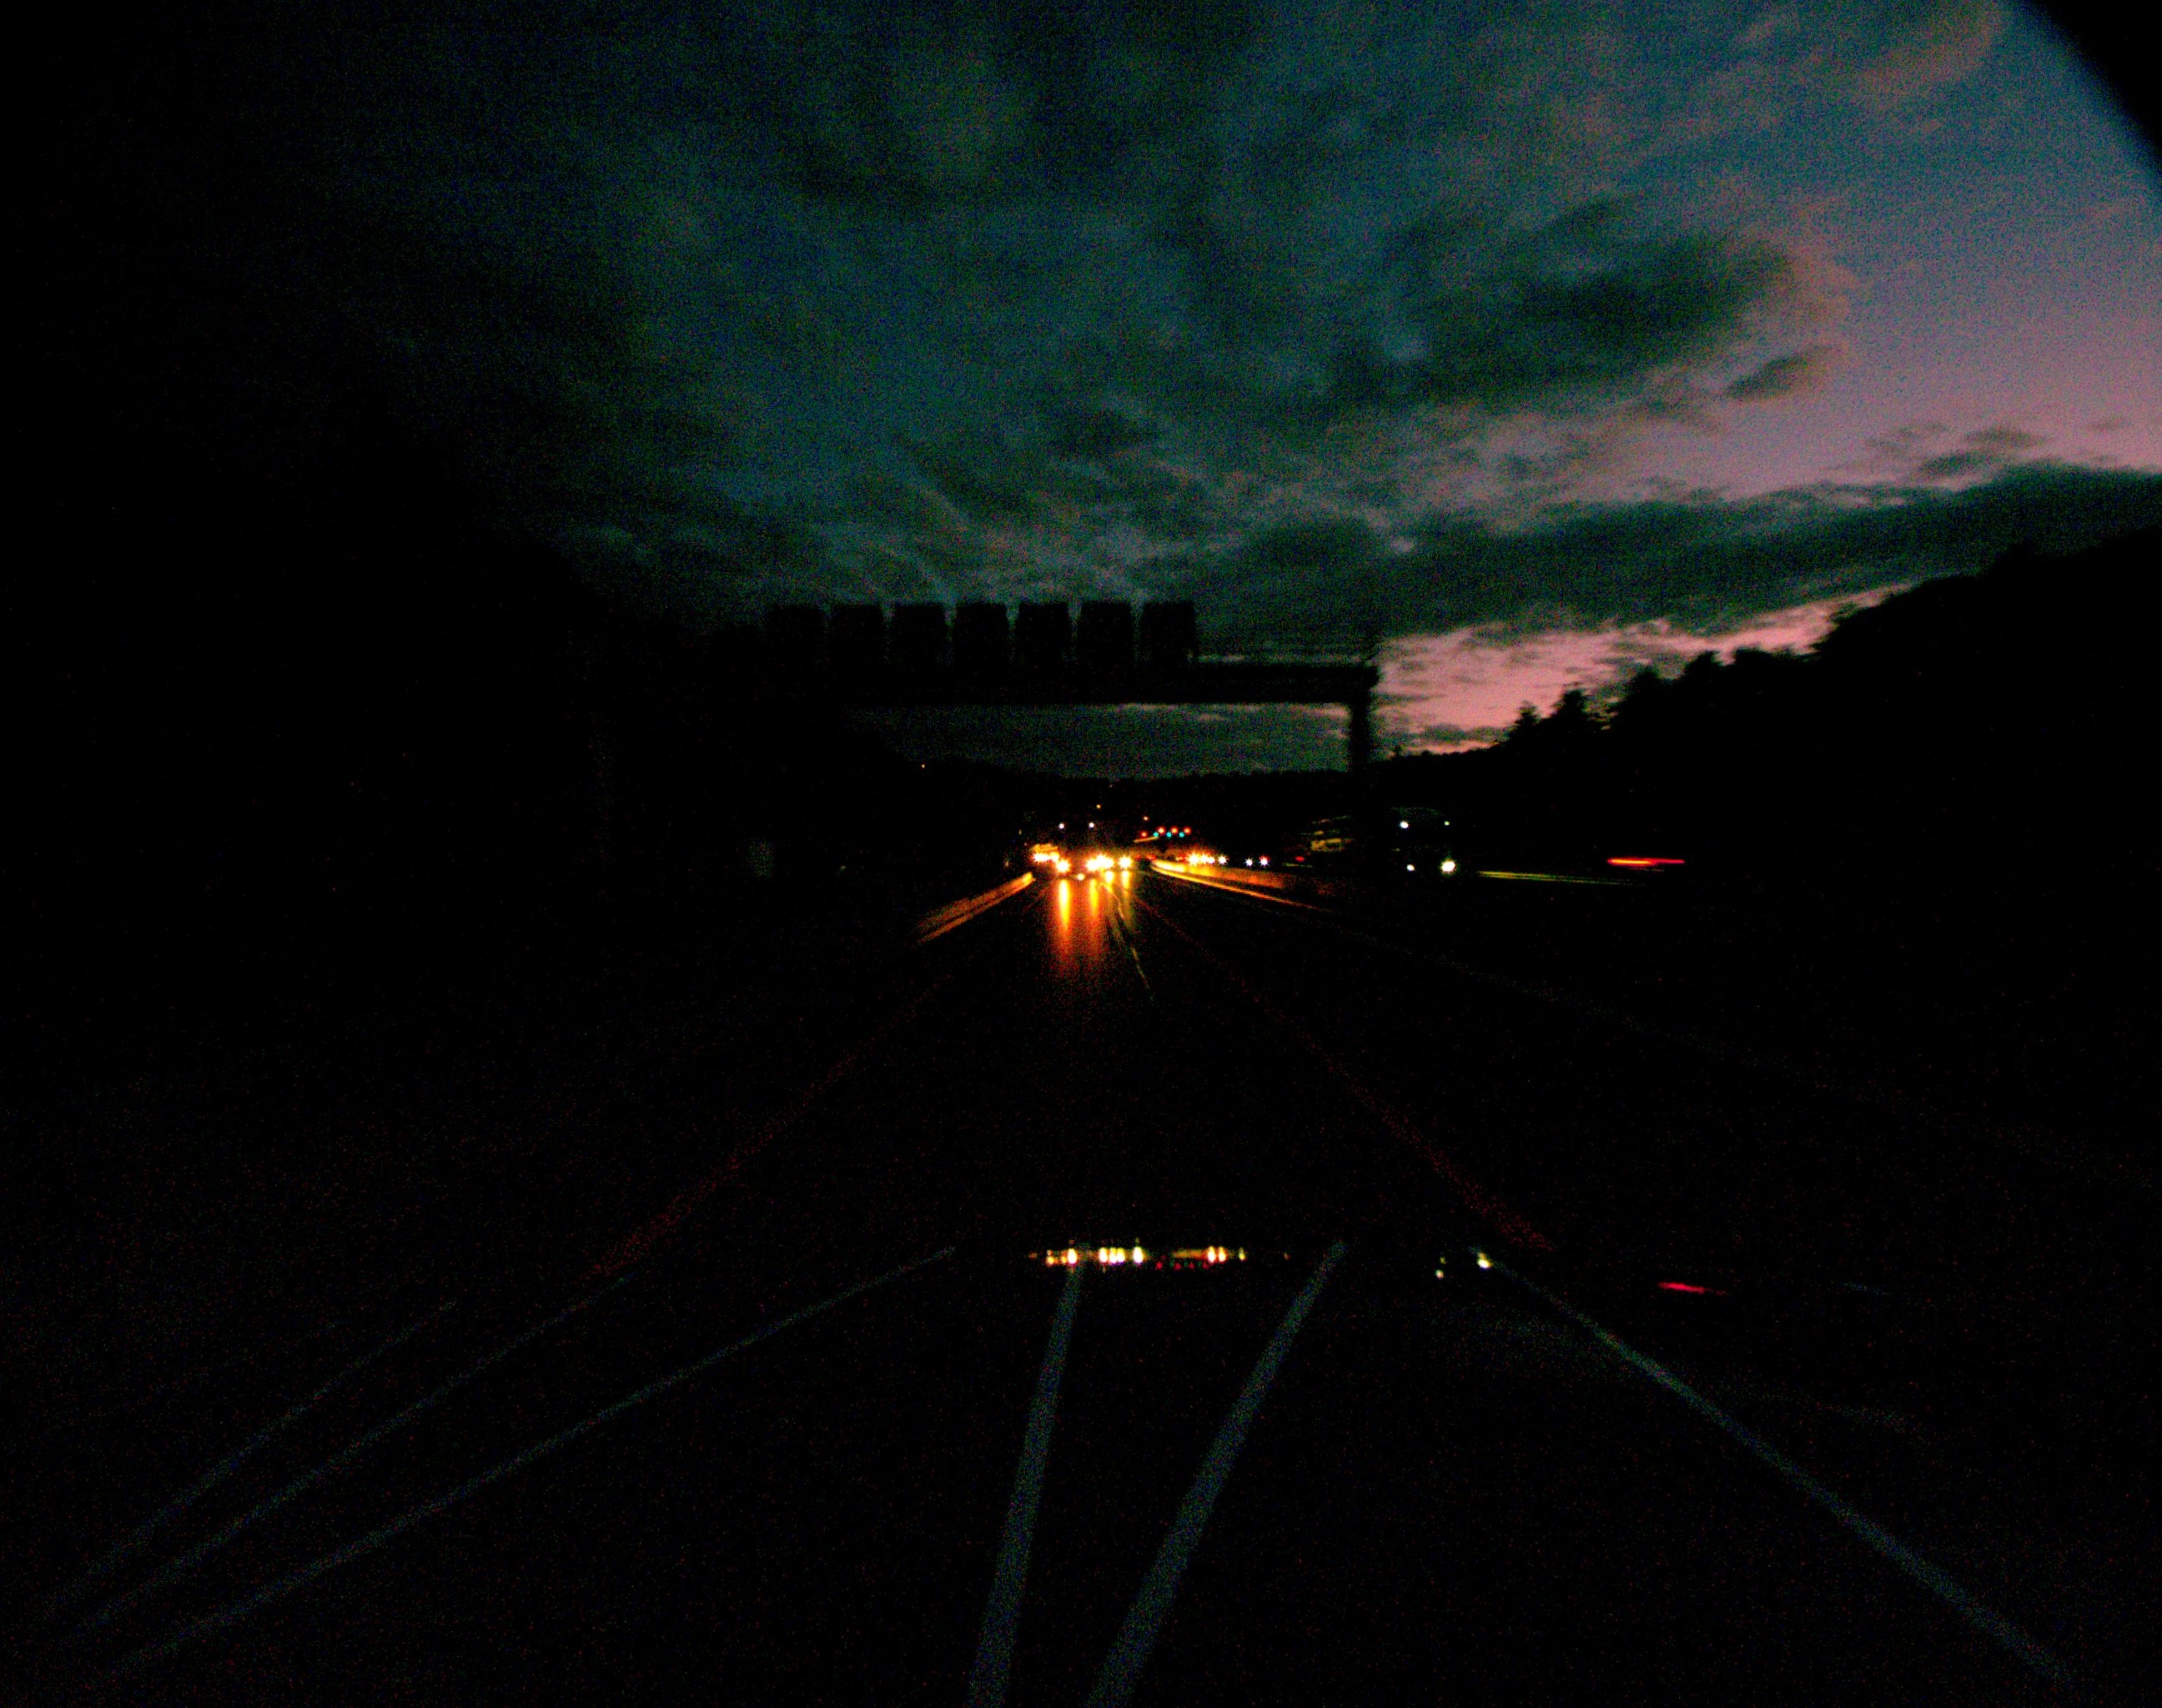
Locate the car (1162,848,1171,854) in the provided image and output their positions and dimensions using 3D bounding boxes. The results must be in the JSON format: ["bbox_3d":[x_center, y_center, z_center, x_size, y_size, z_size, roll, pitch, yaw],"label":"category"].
[{"bbox_3d":[22.830,-0.812,203.183,1.808,1.628,4.751,-3,1,1],"label":"car"}]

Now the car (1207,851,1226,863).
[{"bbox_3d":[18.756,0.424,105.145,1.792,1.472,3.999,-3,1,0],"label":"car"}]

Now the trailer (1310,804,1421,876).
[{"bbox_3d":[17.340,-0.826,47.415,2.805,3.761,11.836,-3,1,2],"label":"trailer"}]

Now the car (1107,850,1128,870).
[{"bbox_3d":[3.192,0.472,65.319,1.662,1.586,3.997,-3,1,4],"label":"car"}]

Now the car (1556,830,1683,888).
[{"bbox_3d":[22.925,0.173,32.611,1.998,2.177,4.801,-3,1,0],"label":"car"}]

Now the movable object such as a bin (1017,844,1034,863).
[{"bbox_3d":[-9.363,-0.046,129.583,2.628,3.090,5.804,-1,1,-2],"label":"movable object such as a bin"}]

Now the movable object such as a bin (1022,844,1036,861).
[{"bbox_3d":[-10.411,-0.362,152.921,2.571,3.299,5.577,0,1,-2],"label":"movable object such as a bin"}]

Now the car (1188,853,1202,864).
[{"bbox_3d":[17.859,0.678,119.385,1.509,1.472,3.824,-3,1,0],"label":"car"}]

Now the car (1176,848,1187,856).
[{"bbox_3d":[22.078,-0.425,166.920,1.741,1.628,4.891,-3,1,1],"label":"car"}]

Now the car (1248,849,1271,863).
[{"bbox_3d":[22.782,0.242,97.179,1.998,1.666,4.515,-3,1,2],"label":"car"}]

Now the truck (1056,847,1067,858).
[{"bbox_3d":[-5.193,-0.368,204.083,1.998,2.817,6.297,-3,1,5],"label":"truck"}]

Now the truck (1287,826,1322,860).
[{"bbox_3d":[28.543,-1.381,97.286,2.784,4.147,6.386,-3,1,2],"label":"truck"}]

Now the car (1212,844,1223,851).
[{"bbox_3d":[33.355,-1.612,185.697,1.808,1.628,4.751,-3,1,1],"label":"car"}]

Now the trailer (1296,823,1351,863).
[{"bbox_3d":[28.217,-1.290,89.084,2.785,4.181,12.402,-3,1,2],"label":"trailer"}]

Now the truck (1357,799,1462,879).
[{"bbox_3d":[17.067,-0.745,39.967,2.809,3.753,6.302,-3,1,1],"label":"truck"}]

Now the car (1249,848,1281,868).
[{"bbox_3d":[19.266,0.408,79.646,2.096,1.873,4.700,-3,1,0],"label":"car"}]

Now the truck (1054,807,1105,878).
[{"bbox_3d":[-0.205,-0.764,52.351,2.954,4.241,11.050,-3,1,-1],"label":"truck"}]

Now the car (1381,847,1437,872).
[{"bbox_3d":[23.660,0.375,54.972,1.998,1.664,4.582,-3,1,0],"label":"car"}]

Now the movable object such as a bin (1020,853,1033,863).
[{"bbox_3d":[-9.635,0.657,134.546,1.999,1.592,4.083,0,1,-1],"label":"movable object such as a bin"}]
